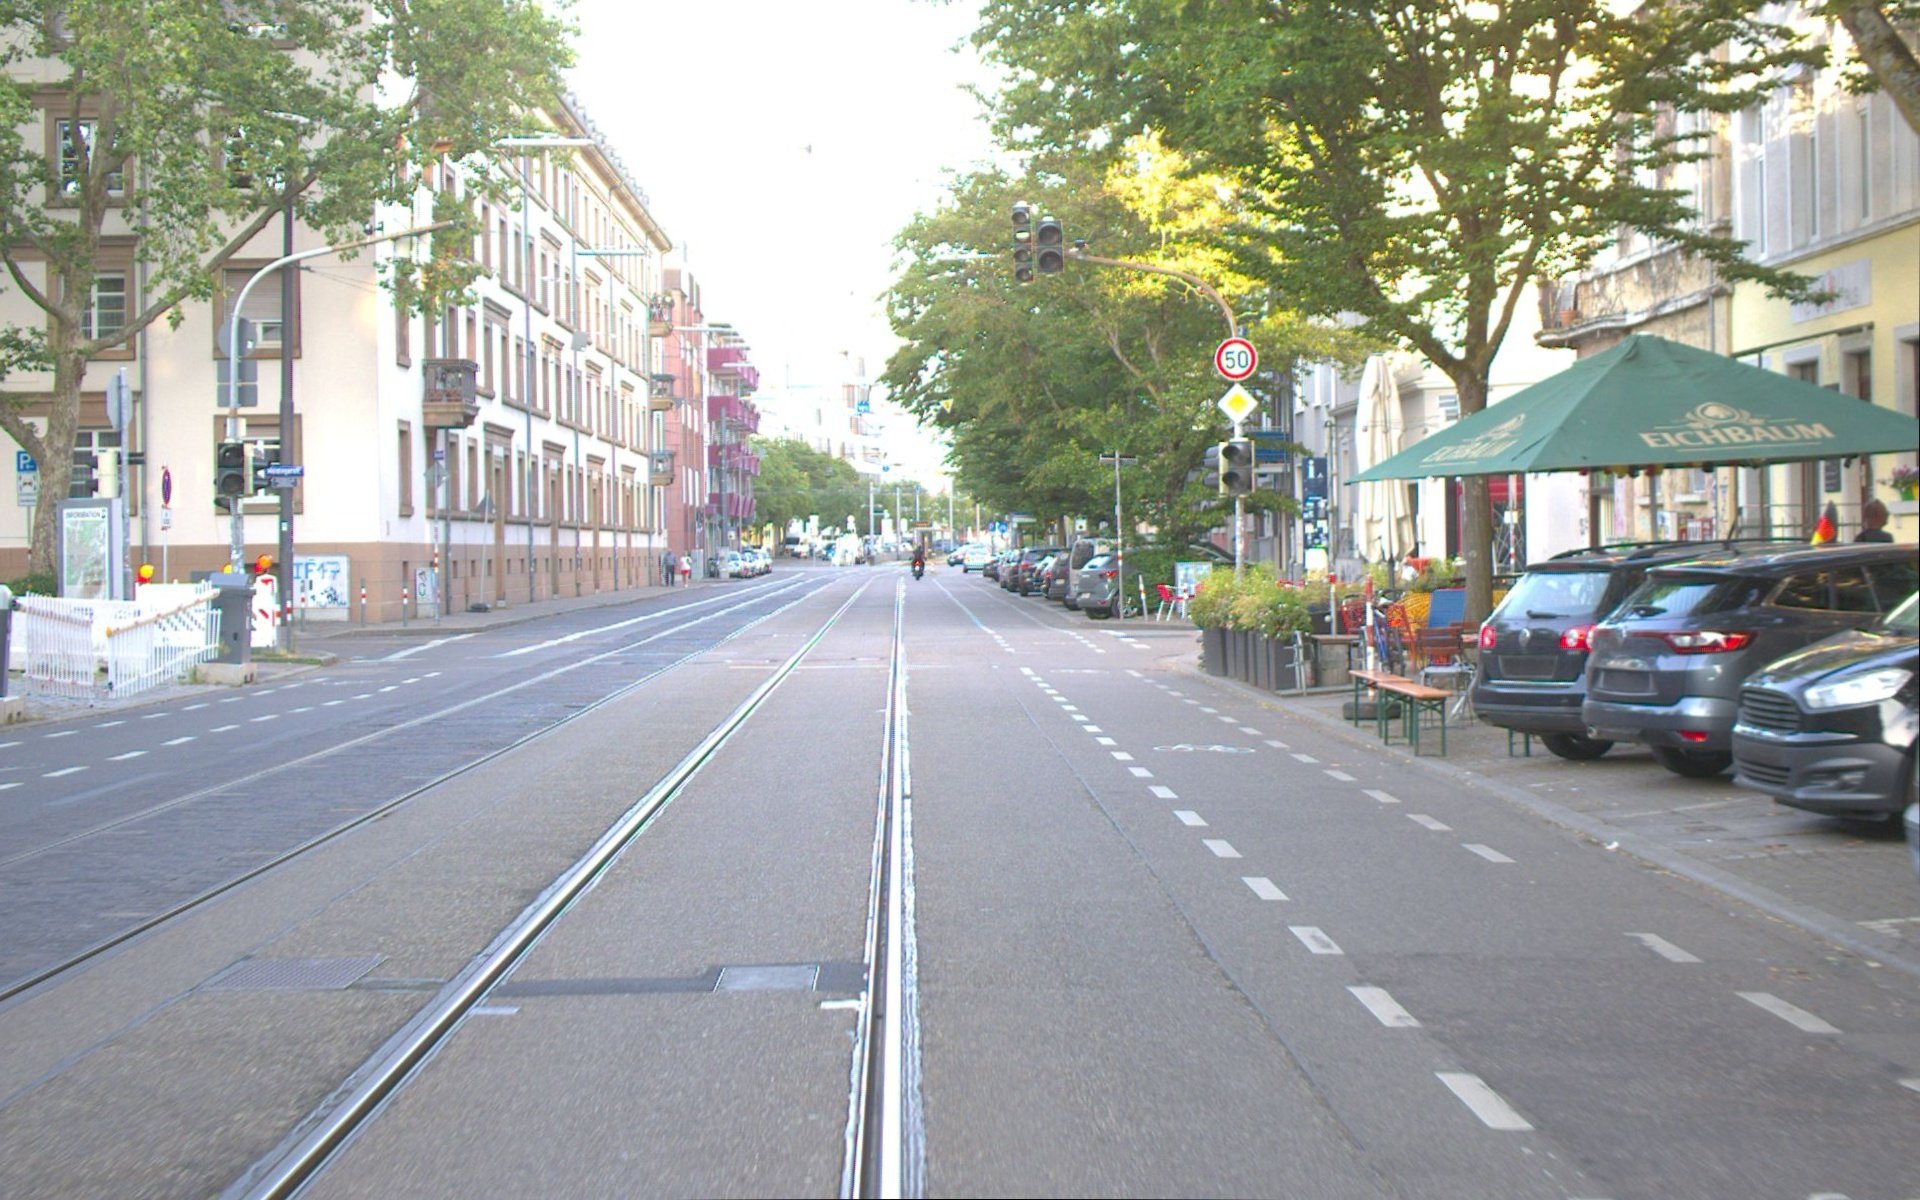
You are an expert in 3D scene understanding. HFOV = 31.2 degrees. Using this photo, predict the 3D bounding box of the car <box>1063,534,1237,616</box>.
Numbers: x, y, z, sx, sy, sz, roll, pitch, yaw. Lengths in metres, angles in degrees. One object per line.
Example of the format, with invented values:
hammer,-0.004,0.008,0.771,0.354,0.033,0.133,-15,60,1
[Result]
car,4.329,-0.568,78.884,3.887,1.842,1.861,0,0,0

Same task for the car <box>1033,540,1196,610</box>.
car,3.732,-0.608,83.737,3.887,1.655,1.861,0,0,0

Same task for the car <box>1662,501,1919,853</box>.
car,5.910,0.338,17.913,4.011,1.702,1.818,-1,0,-7

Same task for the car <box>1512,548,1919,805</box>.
car,5.839,0.409,21.643,4.174,1.457,2.009,-2,0,-16

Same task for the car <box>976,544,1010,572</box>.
car,1.998,-2.571,210.007,1.963,1.713,4.000,0,1,-1

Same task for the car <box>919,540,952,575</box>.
car,-1.421,-2.475,198.588,1.898,2.007,4.000,0,1,-1

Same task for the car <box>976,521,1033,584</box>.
car,1.445,-1.569,112.445,1.721,2.007,4.000,0,1,-1

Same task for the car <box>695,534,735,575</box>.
car,-13.079,-2.450,183.651,1.898,2.171,4.000,0,1,-1

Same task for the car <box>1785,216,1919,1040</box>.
car,5.578,-0.007,11.455,5.094,2.633,2.022,-3,1,-17

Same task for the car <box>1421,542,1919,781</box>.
car,5.570,0.370,24.101,4.174,1.493,2.009,-2,0,-25

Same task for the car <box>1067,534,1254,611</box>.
car,4.256,-0.595,73.462,3.887,1.587,1.861,-1,1,0

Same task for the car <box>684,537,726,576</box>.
car,-13.265,-2.261,179.006,1.898,2.007,4.000,0,1,-1

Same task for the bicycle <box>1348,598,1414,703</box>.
bicycle,4.295,0.505,35.161,0.418,1.012,1.830,0,1,-1

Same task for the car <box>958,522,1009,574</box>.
car,0.924,-2.041,135.183,1.898,2.007,4.000,0,1,-1

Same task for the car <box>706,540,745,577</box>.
car,-12.908,-2.294,189.212,1.898,2.007,4.000,0,1,-1

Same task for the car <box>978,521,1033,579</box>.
car,1.599,-1.782,122.122,1.804,2.007,4.000,0,1,-1
